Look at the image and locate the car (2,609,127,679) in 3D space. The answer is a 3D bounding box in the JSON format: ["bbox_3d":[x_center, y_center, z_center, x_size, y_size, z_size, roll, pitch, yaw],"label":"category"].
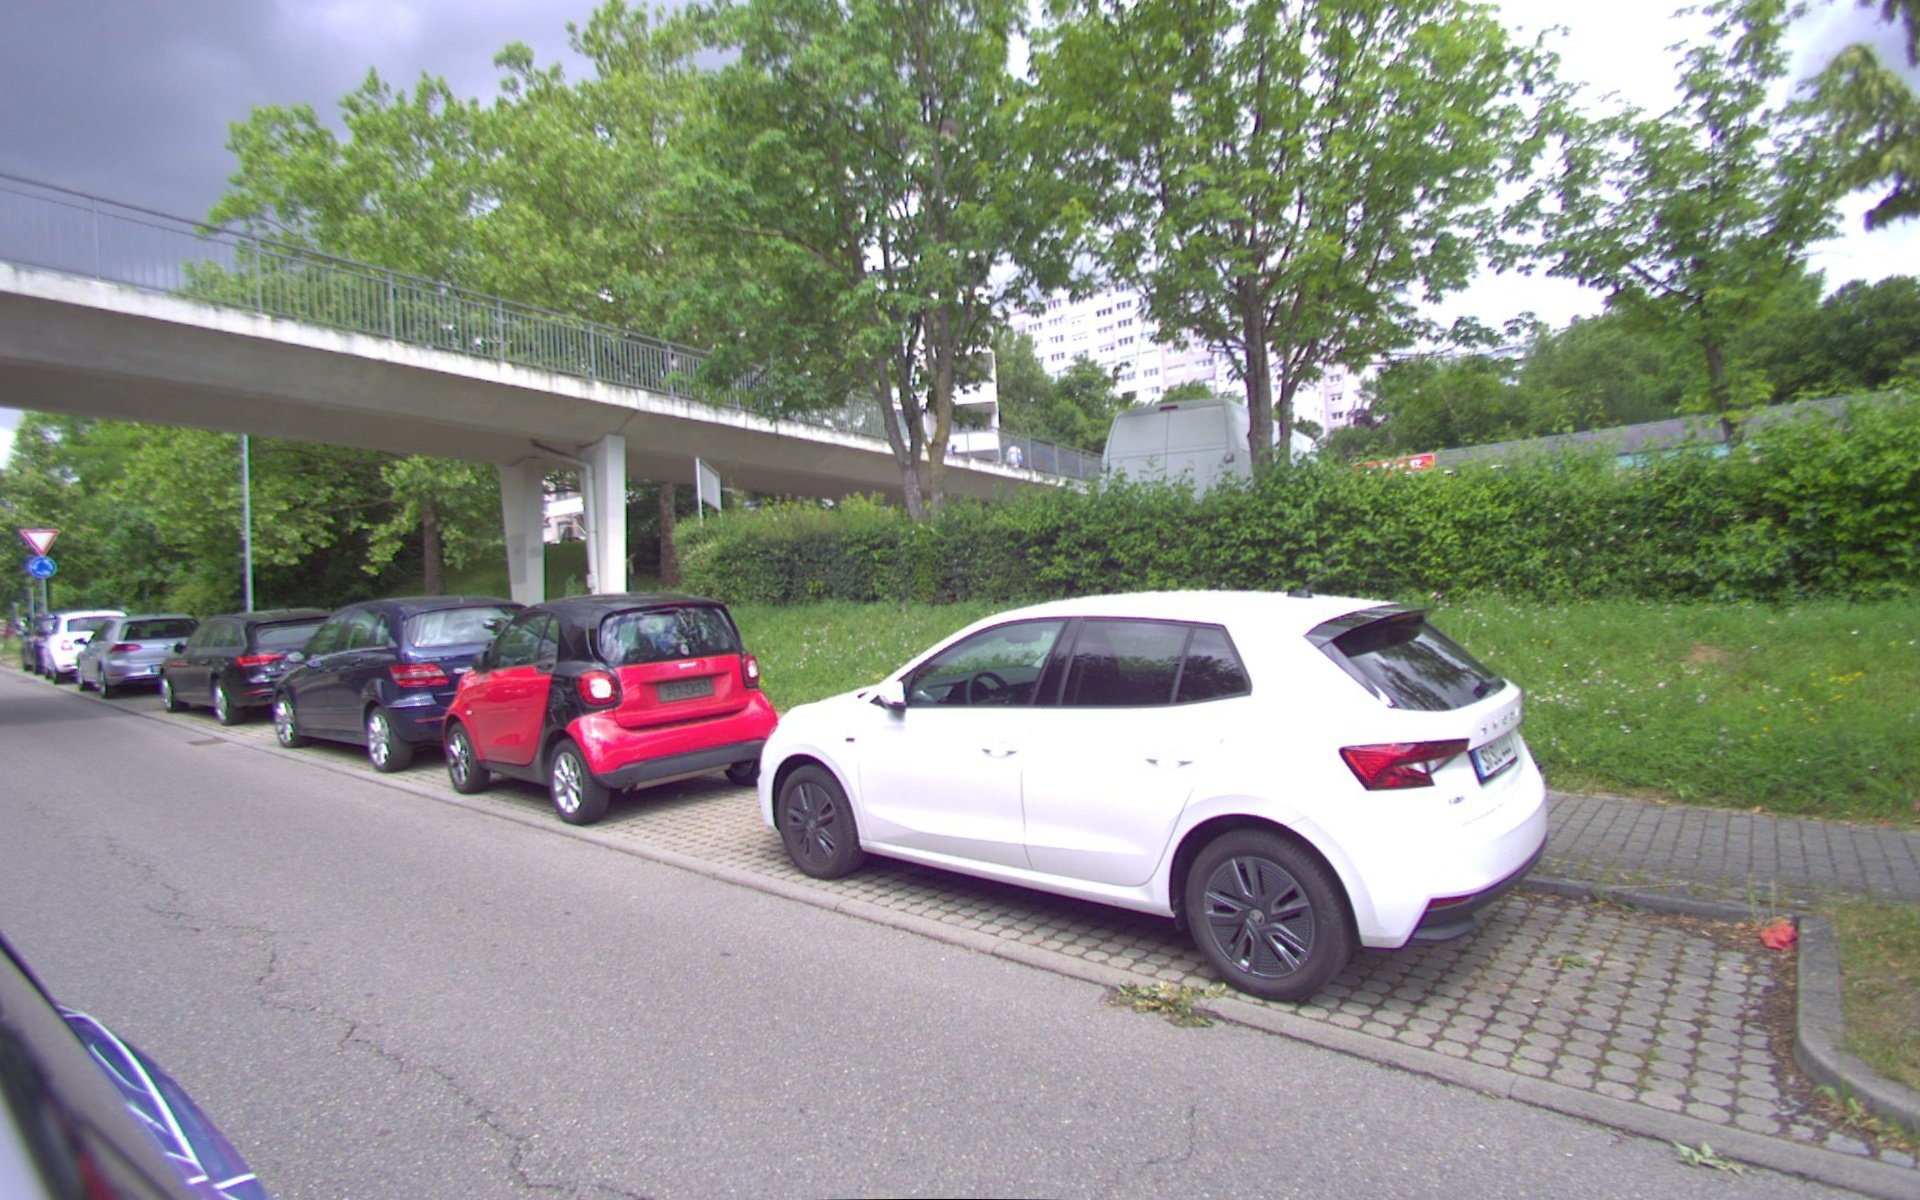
[{"bbox_3d":[-23.007,1.065,25.962,3.718,1.582,1.791,-1,1,39],"label":"car"}]

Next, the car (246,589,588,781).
[{"bbox_3d":[-5.857,0.762,10.743,3.982,1.596,1.790,-1,2,40],"label":"car"}]

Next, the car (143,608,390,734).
[{"bbox_3d":[-10.198,0.912,14.759,4.482,1.491,1.790,-1,2,40],"label":"car"}]

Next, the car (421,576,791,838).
[{"bbox_3d":[-2.840,0.686,7.970,2.685,1.596,1.577,-1,4,42],"label":"car"}]

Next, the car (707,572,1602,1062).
[{"bbox_3d":[0.706,0.668,5.096,4.046,1.415,1.790,-1,4,41],"label":"car"}]

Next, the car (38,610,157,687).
[{"bbox_3d":[-19.587,1.028,22.938,1.787,1.582,3.724,0,0,-45],"label":"car"}]

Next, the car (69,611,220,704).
[{"bbox_3d":[-15.630,1.005,19.324,1.788,1.466,3.863,-5,3,-45],"label":"car"}]
